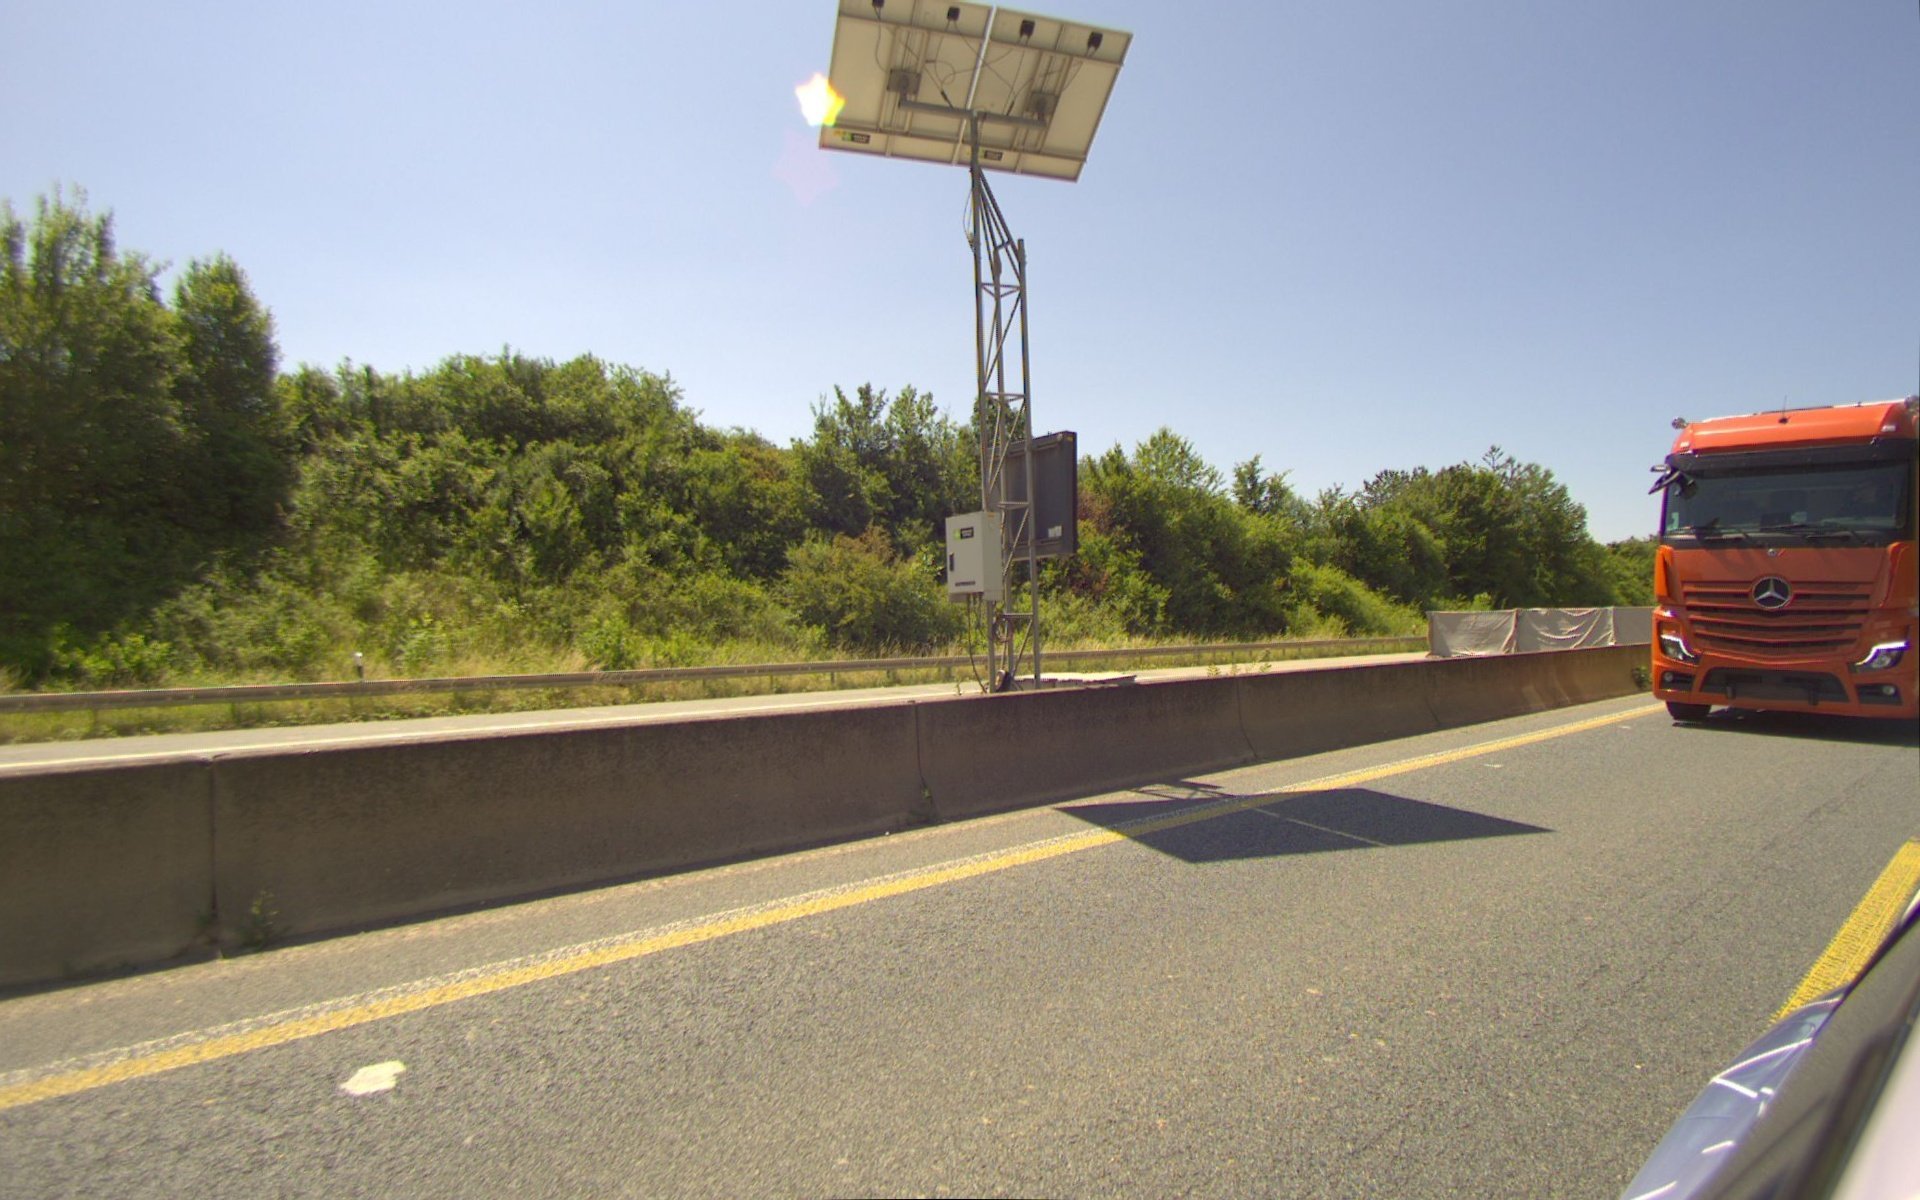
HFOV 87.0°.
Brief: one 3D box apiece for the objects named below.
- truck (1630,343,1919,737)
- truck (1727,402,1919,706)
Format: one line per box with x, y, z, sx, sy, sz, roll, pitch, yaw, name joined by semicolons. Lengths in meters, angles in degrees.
11.620;-0.639;13.512;6.606;4.061;2.687;0;0;-40;truck
17.224;-0.663;18.359;12.989;4.061;2.686;-1;0;-41;truck
